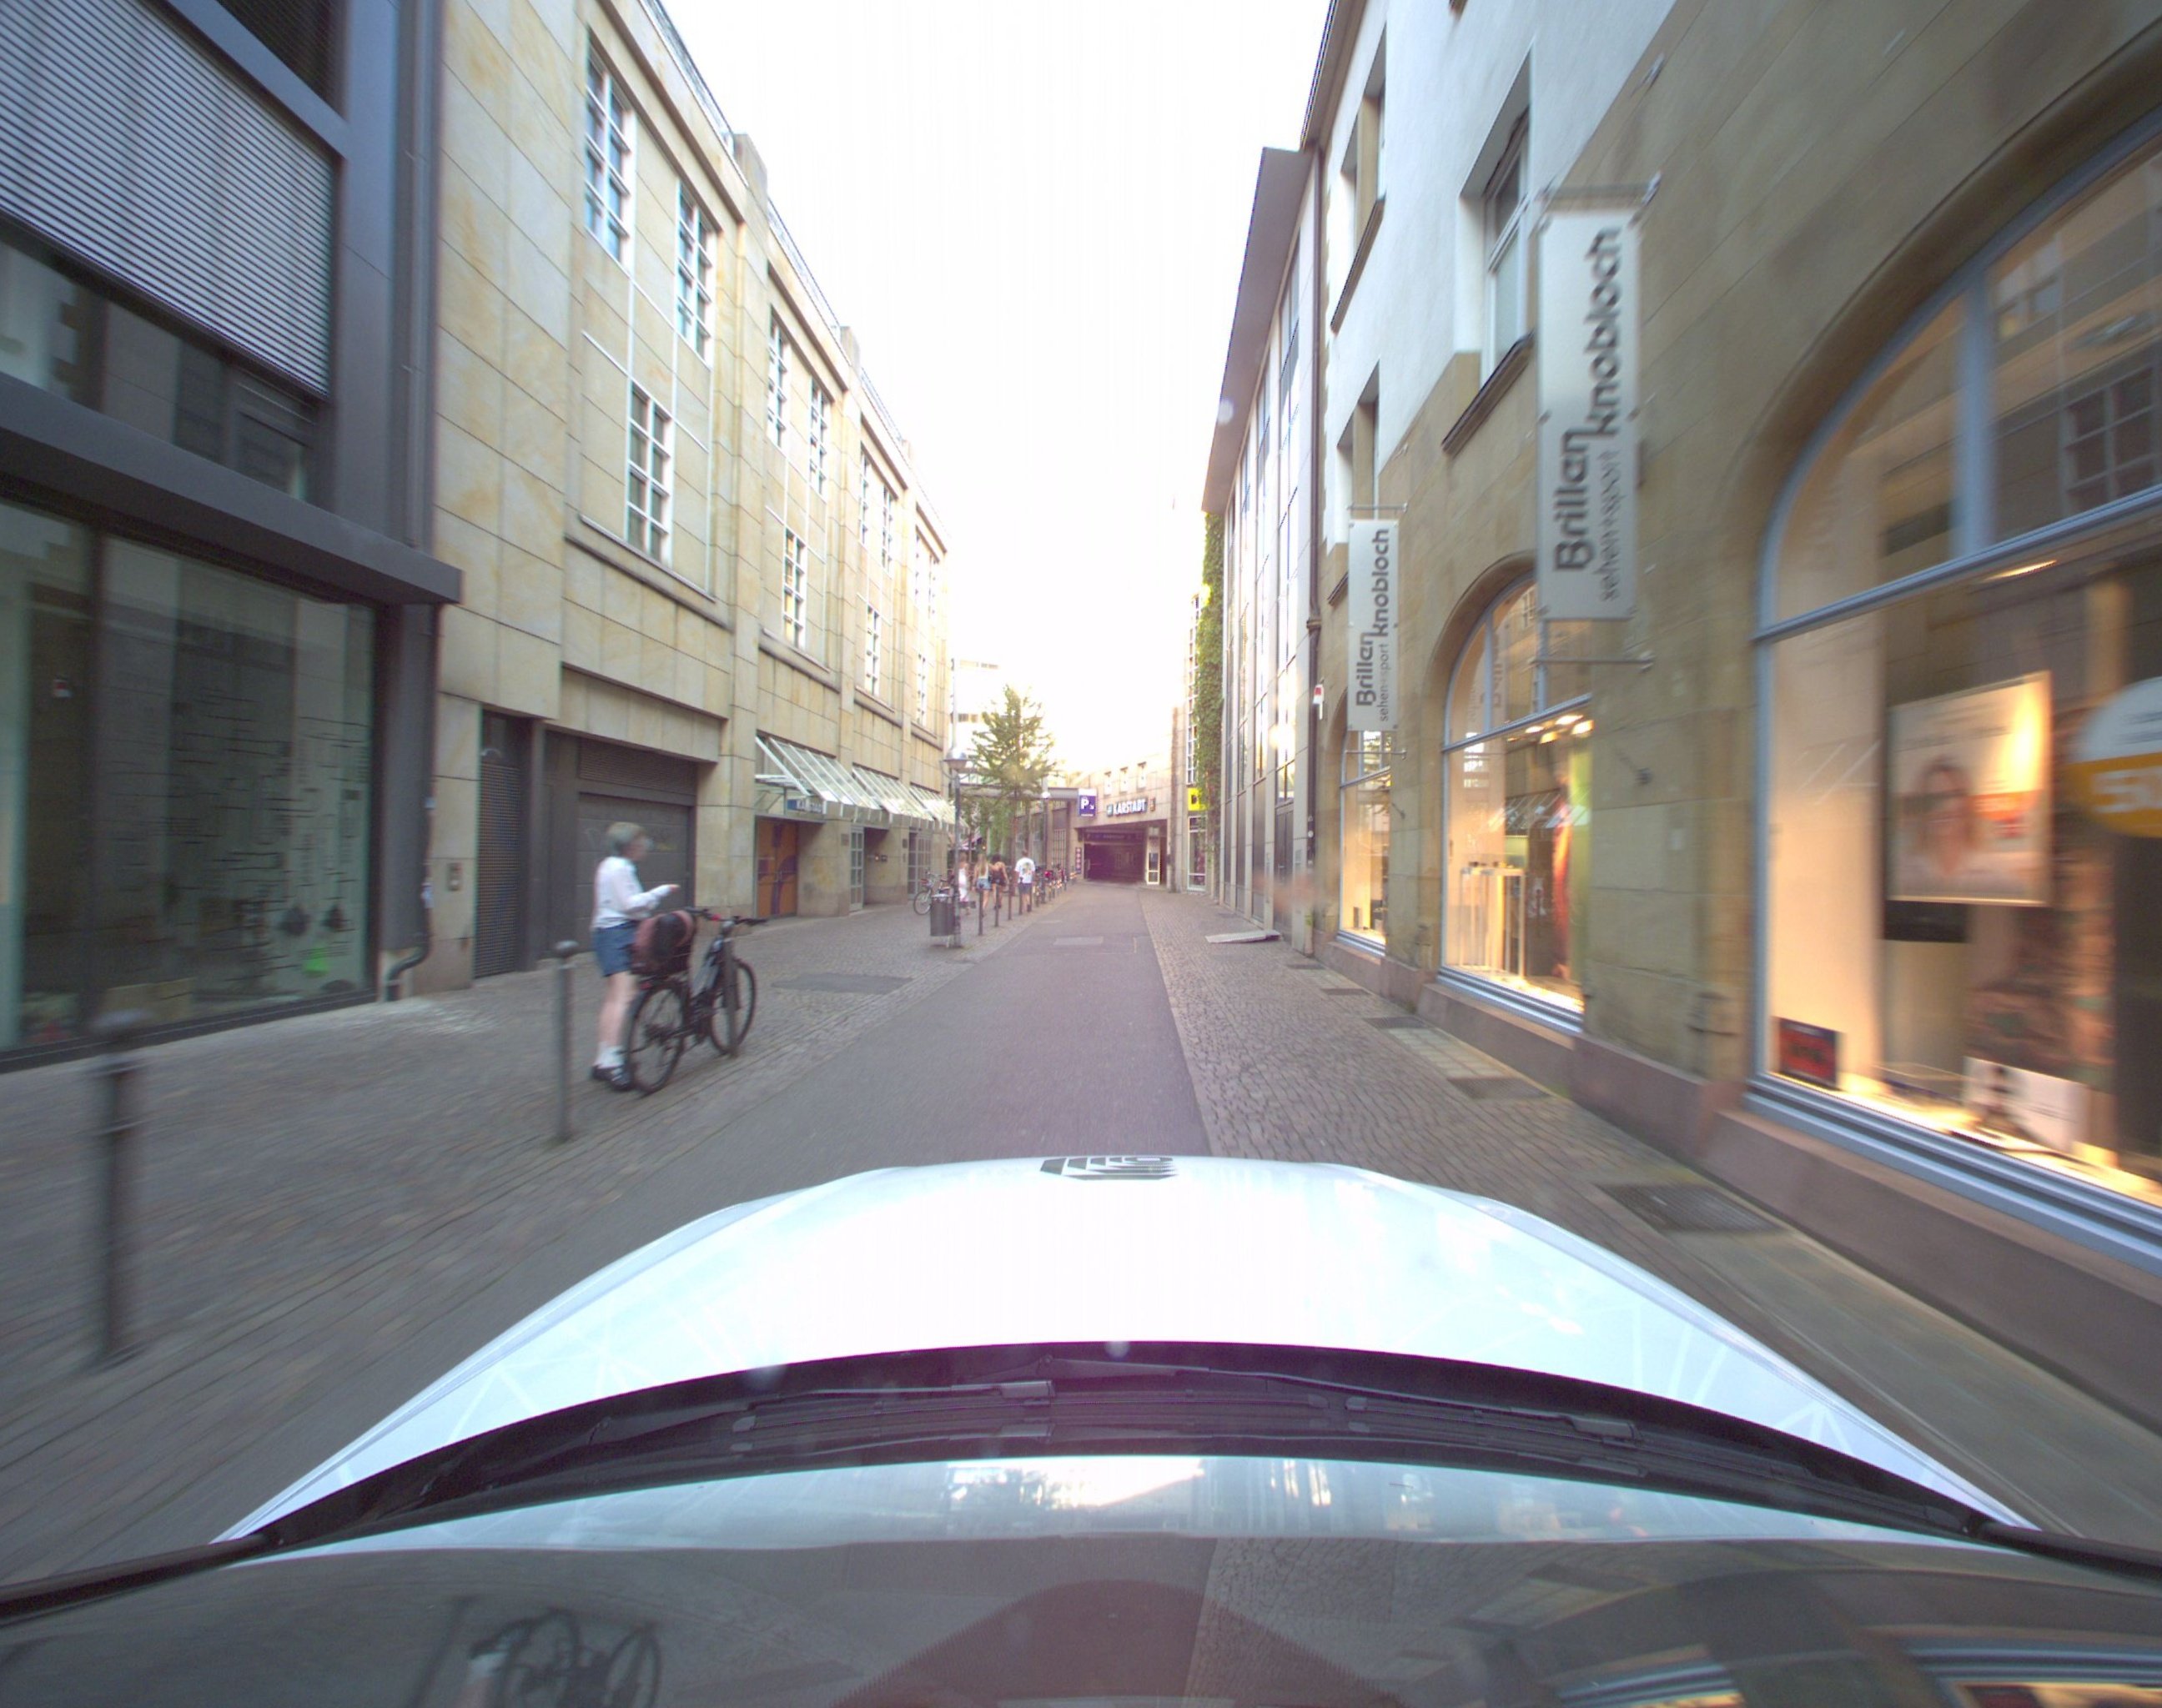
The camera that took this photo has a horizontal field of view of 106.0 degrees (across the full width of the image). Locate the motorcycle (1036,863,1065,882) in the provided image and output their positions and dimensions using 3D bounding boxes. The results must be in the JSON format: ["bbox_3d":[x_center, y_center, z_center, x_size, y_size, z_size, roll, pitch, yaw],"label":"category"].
[{"bbox_3d":[-1.777,1.082,47.552,1.667,1.050,0.461,0,0,-18],"label":"motorcycle"}]

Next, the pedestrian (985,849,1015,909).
[{"bbox_3d":[-2.509,0.764,25.105,0.786,1.795,0.968,0,0,-13],"label":"pedestrian"}]

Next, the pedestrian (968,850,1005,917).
[{"bbox_3d":[-2.516,0.775,21.833,0.803,1.729,0.949,1,0,3],"label":"pedestrian"}]

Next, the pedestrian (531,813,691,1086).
[{"bbox_3d":[-3.150,0.610,5.529,0.770,1.718,0.588,2,0,-19],"label":"pedestrian"}]

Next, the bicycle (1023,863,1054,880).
[{"bbox_3d":[-2.572,1.047,49.206,1.853,0.982,0.461,0,0,-18],"label":"bicycle"}]

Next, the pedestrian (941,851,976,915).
[{"bbox_3d":[-3.292,0.766,21.904,0.670,1.664,0.863,1,0,11],"label":"pedestrian"}]

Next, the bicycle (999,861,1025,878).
[{"bbox_3d":[-4.827,1.077,56.913,1.778,1.114,0.539,0,0,-18],"label":"bicycle"}]

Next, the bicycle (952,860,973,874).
[{"bbox_3d":[-10.403,1.120,71.367,1.778,1.190,0.583,0,0,-18],"label":"bicycle"}]

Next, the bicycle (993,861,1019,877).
[{"bbox_3d":[-5.323,1.067,57.962,1.778,1.114,0.539,0,0,-18],"label":"bicycle"}]

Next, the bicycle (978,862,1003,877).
[{"bbox_3d":[-6.662,1.148,60.264,1.778,1.114,0.539,0,0,-18],"label":"bicycle"}]

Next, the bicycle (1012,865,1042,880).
[{"bbox_3d":[-3.328,1.124,50.082,1.778,0.904,0.461,0,0,-18],"label":"bicycle"}]

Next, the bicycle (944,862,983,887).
[{"bbox_3d":[-5.750,0.995,39.843,1.839,1.225,0.530,0,0,-20],"label":"bicycle"}]

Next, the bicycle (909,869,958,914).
[{"bbox_3d":[-3.998,0.998,22.178,0.517,1.138,1.773,0,0,19],"label":"bicycle"}]

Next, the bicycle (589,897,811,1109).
[{"bbox_3d":[-2.604,0.941,5.844,0.530,1.153,1.917,2,0,4],"label":"bicycle"}]

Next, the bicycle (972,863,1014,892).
[{"bbox_3d":[-3.825,1.001,35.447,1.772,1.231,0.530,0,0,-20],"label":"bicycle"}]

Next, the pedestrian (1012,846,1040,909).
[{"bbox_3d":[-1.613,0.677,23.835,0.742,1.822,0.875,0,0,-10],"label":"pedestrian"}]

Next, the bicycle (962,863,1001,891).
[{"bbox_3d":[-4.481,1.035,36.748,1.659,1.231,0.530,0,0,-20],"label":"bicycle"}]

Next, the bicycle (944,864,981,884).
[{"bbox_3d":[-6.333,1.090,43.650,1.883,1.043,0.530,0,0,-20],"label":"bicycle"}]

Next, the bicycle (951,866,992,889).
[{"bbox_3d":[-5.264,1.110,39.152,1.900,1.052,0.530,0,0,-20],"label":"bicycle"}]

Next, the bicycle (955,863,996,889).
[{"bbox_3d":[-5.009,1.042,38.613,1.878,1.177,0.530,0,0,-20],"label":"bicycle"}]

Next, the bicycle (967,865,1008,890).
[{"bbox_3d":[-4.326,1.096,37.635,1.843,1.122,0.530,0,0,-20],"label":"bicycle"}]

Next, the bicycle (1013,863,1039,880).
[{"bbox_3d":[-3.431,1.092,51.037,1.543,1.049,0.572,0,0,-18],"label":"bicycle"}]

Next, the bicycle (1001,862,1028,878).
[{"bbox_3d":[-4.519,1.085,55.699,1.778,1.114,0.539,0,0,-18],"label":"bicycle"}]

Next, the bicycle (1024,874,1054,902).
[{"bbox_3d":[-1.473,1.197,28.915,0.489,0.939,1.666,2,0,18],"label":"bicycle"}]
